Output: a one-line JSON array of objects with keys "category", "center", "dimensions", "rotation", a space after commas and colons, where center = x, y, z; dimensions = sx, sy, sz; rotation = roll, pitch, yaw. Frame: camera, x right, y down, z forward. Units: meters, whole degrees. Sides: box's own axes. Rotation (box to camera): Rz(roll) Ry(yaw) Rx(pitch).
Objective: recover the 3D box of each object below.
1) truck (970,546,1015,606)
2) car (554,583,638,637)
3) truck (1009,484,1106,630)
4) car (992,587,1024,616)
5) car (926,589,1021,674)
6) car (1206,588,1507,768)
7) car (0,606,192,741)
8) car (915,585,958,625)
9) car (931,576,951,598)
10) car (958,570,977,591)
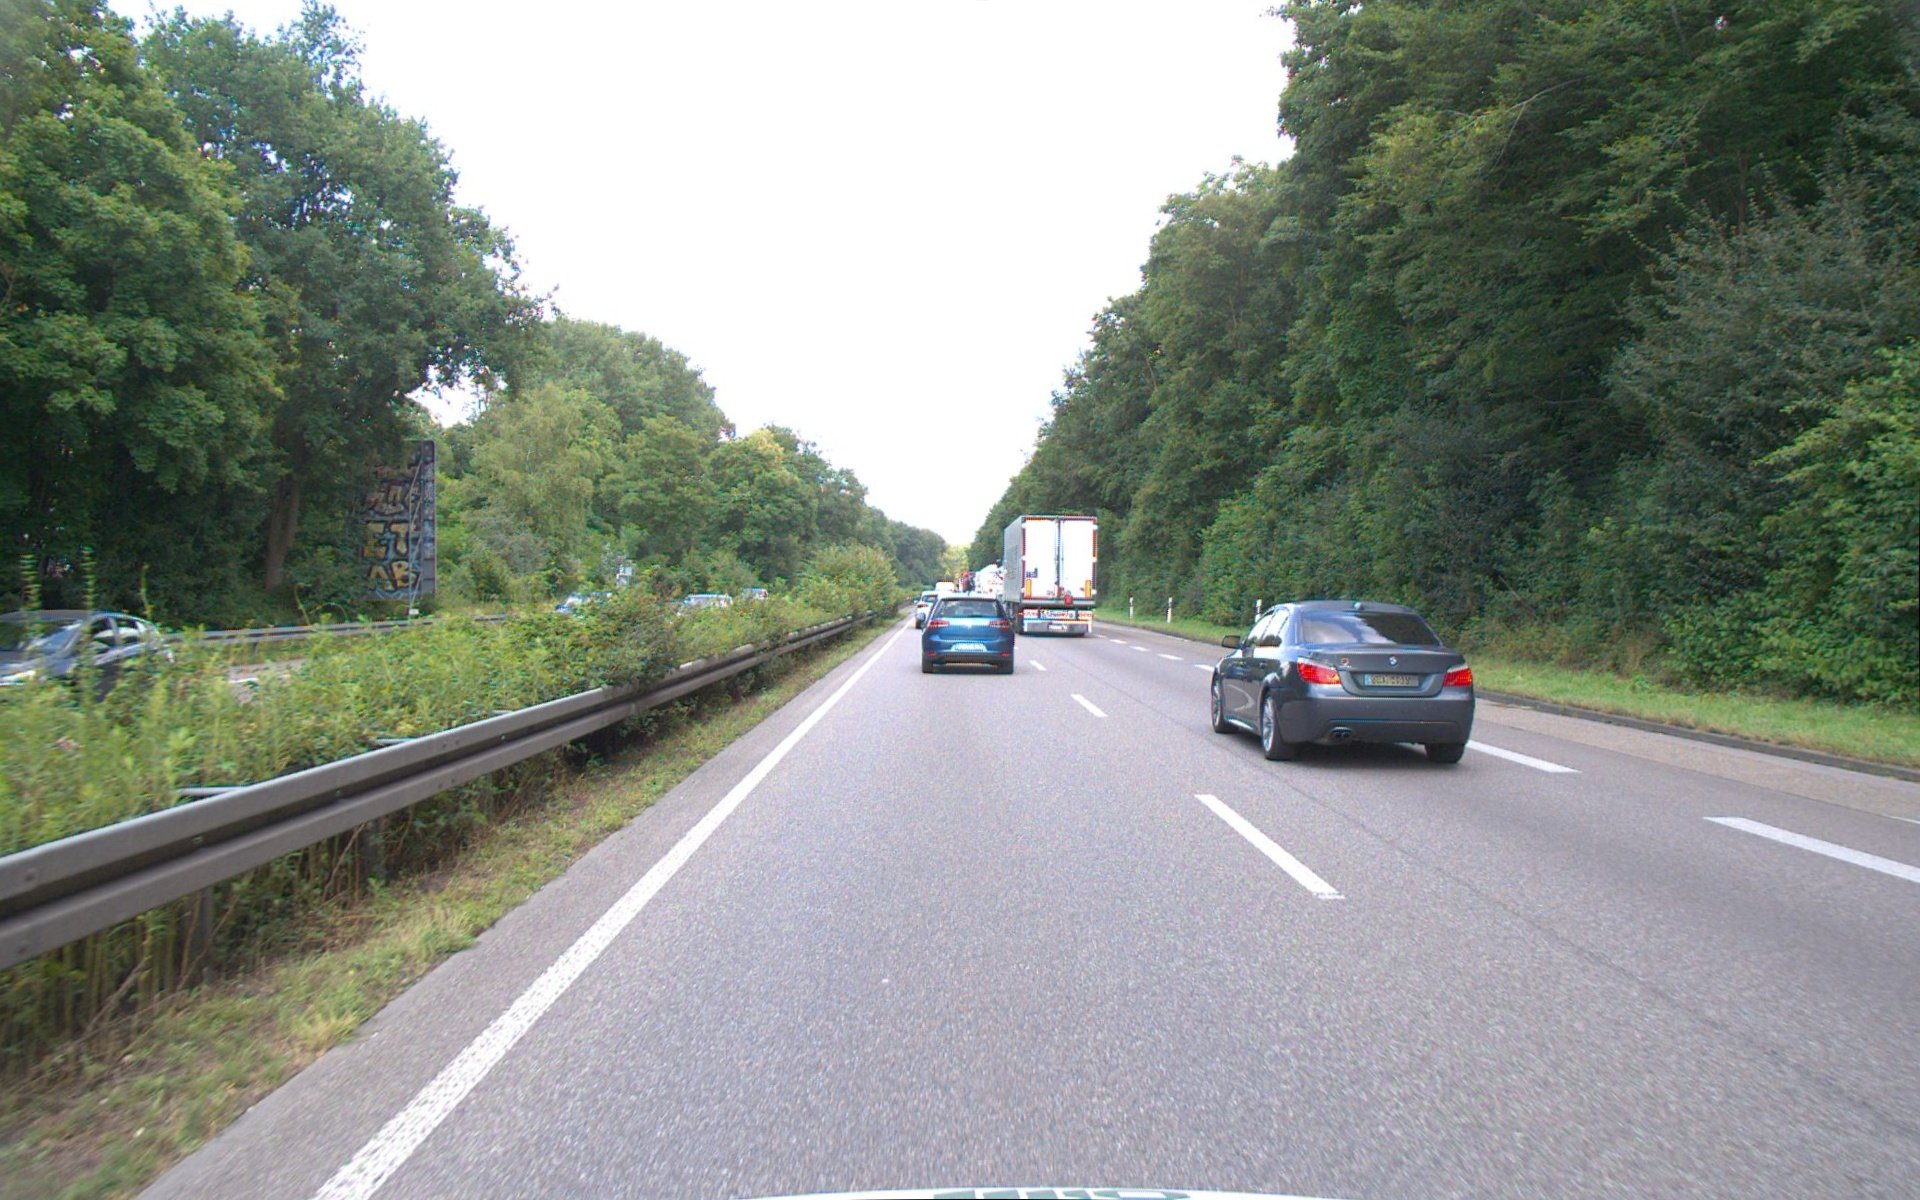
[{"category": "truck", "center": [2.463, -1.753, 130.178], "dimensions": [3.166, 4.463, 12.968], "rotation": [1, 0, -1]}, {"category": "car", "center": [-12.077, 0.311, 55.165], "dimensions": [1.791, 1.690, 4.594], "rotation": [1, 0, -1]}, {"category": "truck", "center": [3.395, -1.492, 60.189], "dimensions": [3.175, 4.798, 11.009], "rotation": [0, 1, 2]}, {"category": "car", "center": [3.007, 0.085, 104.311], "dimensions": [1.850, 1.759, 4.000], "rotation": [-1, 0, 0]}, {"category": "car", "center": [0.199, 0.554, 31.603], "dimensions": [1.670, 1.495, 3.999], "rotation": [1, 0, -1]}, {"category": "car", "center": [3.729, 0.647, 16.482], "dimensions": [1.738, 1.501, 4.879], "rotation": [1, 0, -1]}, {"category": "car", "center": [-11.808, 0.871, 21.369], "dimensions": [1.699, 1.499, 4.469], "rotation": [-1, 1, -1]}, {"category": "car", "center": [-0.917, 0.195, 66.033], "dimensions": [1.631, 1.526, 4.152], "rotation": [1, 0, 0]}, {"category": "car", "center": [-2.018, -1.349, 175.222], "dimensions": [1.954, 2.294, 4.439], "rotation": [-1, 1, -3]}, {"category": "car", "center": [0.847, -2.299, 192.506], "dimensions": [1.954, 2.368, 4.439], "rotation": [-1, 1, -3]}]
